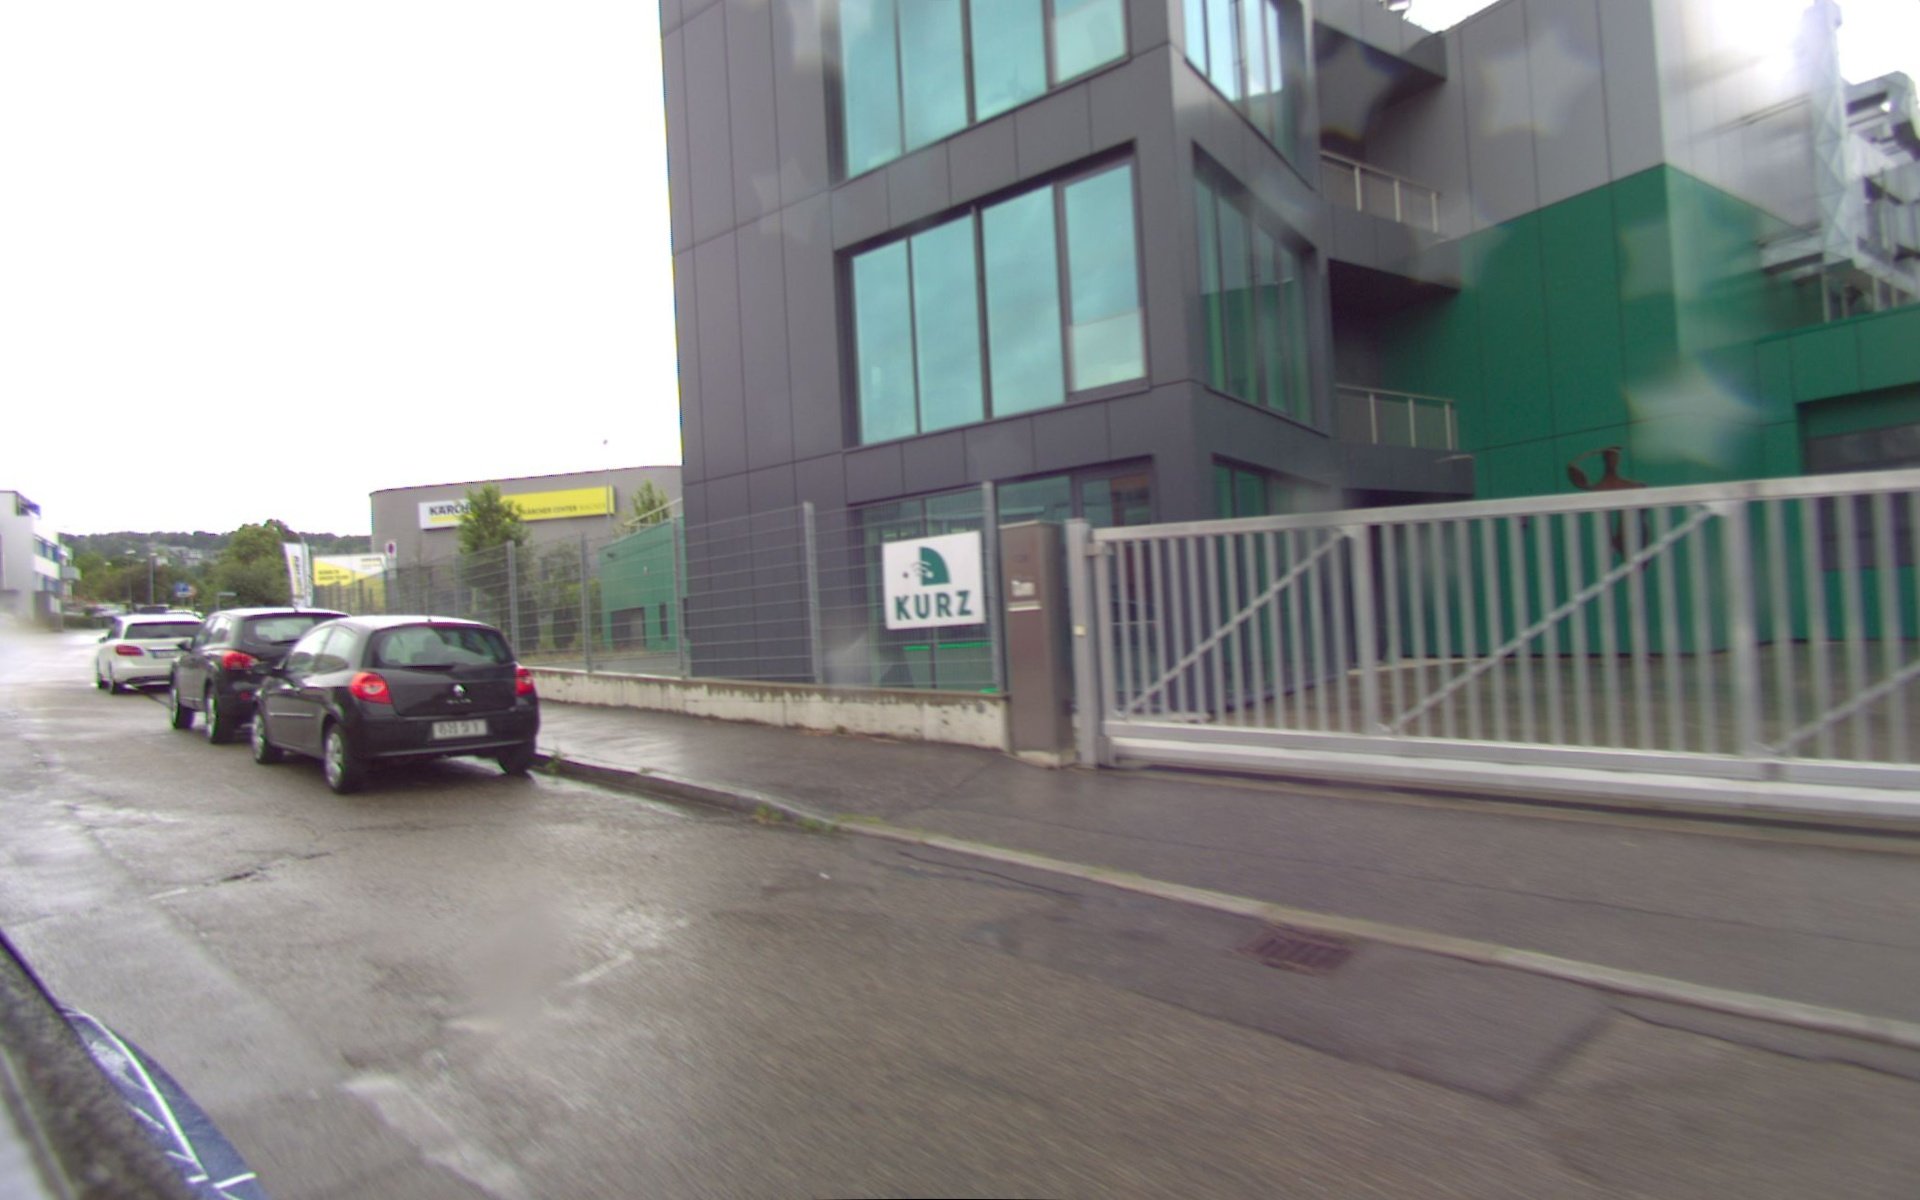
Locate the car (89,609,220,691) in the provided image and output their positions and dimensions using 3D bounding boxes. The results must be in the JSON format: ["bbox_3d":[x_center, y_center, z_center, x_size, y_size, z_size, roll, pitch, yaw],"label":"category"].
[{"bbox_3d":[-17.209,1.002,21.549,1.715,1.547,4.252,-1,0,-45],"label":"car"}]

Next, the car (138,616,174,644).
[{"bbox_3d":[-60.224,2.234,75.802,2.036,2.029,4.519,1,-2,-40],"label":"car"}]

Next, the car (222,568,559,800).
[{"bbox_3d":[-5.678,0.679,9.876,3.958,1.811,1.721,-1,-1,43],"label":"car"}]

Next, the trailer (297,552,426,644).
[{"bbox_3d":[-27.790,-0.086,47.107,4.639,4.120,2.386,-1,-1,4],"label":"trailer"}]

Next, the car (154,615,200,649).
[{"bbox_3d":[-46.355,1.857,59.864,1.969,1.928,4.006,1,-2,-40],"label":"car"}]

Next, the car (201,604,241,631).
[{"bbox_3d":[-56.921,1.341,78.044,1.966,2.029,4.012,-1,-1,-29],"label":"car"}]

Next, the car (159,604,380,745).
[{"bbox_3d":[-9.166,0.874,13.299,4.085,1.570,1.614,-2,-2,44],"label":"car"}]
